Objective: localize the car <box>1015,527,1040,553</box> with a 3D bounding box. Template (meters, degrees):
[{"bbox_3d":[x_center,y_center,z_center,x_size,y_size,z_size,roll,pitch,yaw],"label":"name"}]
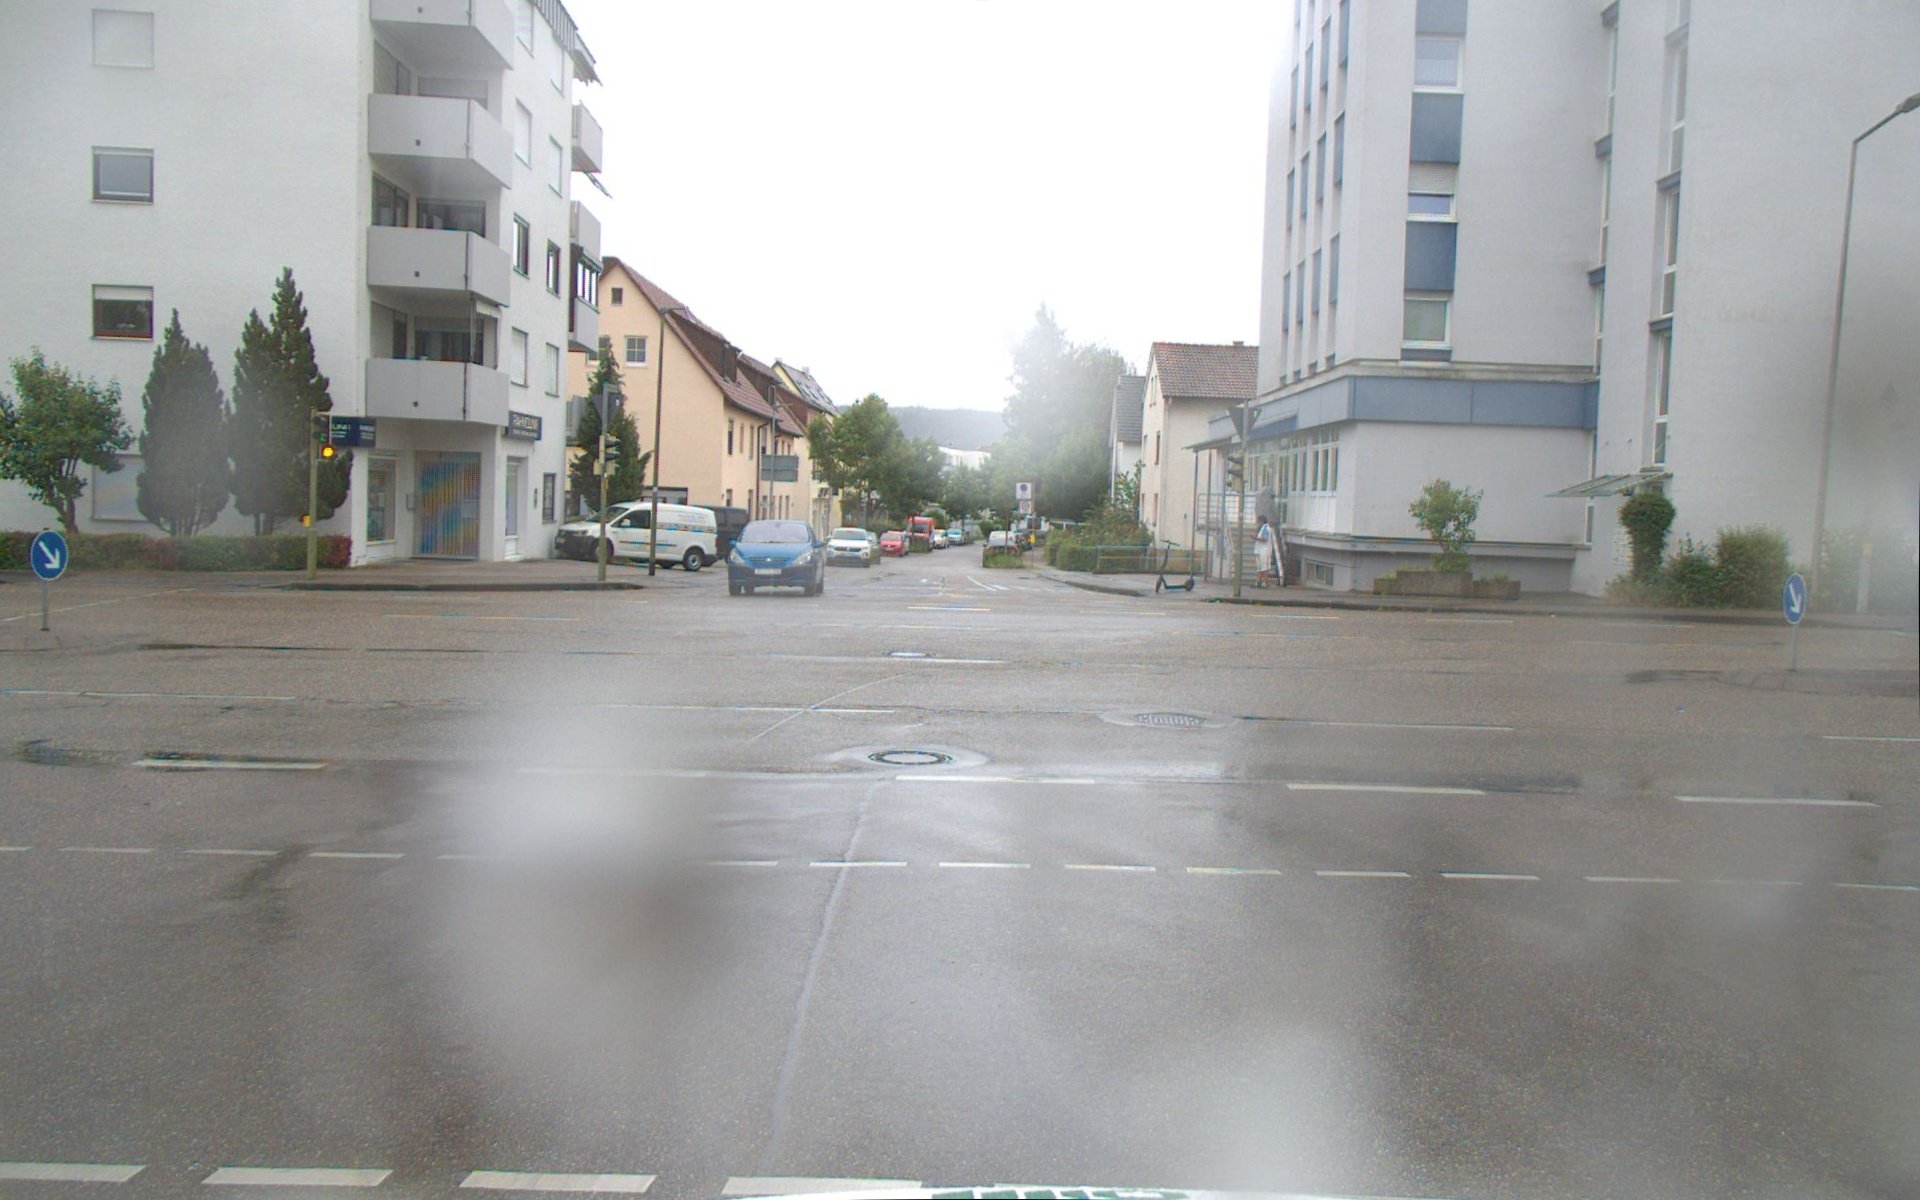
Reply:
[{"bbox_3d":[5.667,-4.998,138.083,1.951,2.048,4.003,1,2,4],"label":"car"}]

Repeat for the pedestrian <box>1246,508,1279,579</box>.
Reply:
[{"bbox_3d":[7.272,-1.344,39.746,0.641,1.680,0.646,1,-1,0],"label":"pedestrian"}]

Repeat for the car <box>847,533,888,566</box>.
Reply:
[{"bbox_3d":[-4.423,-2.431,79.395,1.731,1.545,4.195,1,2,0],"label":"car"}]

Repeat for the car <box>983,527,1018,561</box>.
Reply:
[{"bbox_3d":[2.536,-3.484,103.473,1.951,2.048,4.003,1,2,4],"label":"car"}]

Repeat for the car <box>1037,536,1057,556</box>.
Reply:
[{"bbox_3d":[8.995,-5.577,170.728,1.951,2.048,4.003,1,2,4],"label":"car"}]

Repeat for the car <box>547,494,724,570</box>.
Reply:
[{"bbox_3d":[-9.273,-1.921,47.458,4.684,1.809,1.748,3,-1,-40],"label":"car"}]

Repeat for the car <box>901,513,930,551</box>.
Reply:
[{"bbox_3d":[-3.370,-5.173,126.395,2.171,2.816,5.724,0,2,-1],"label":"car"}]

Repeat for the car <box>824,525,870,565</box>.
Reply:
[{"bbox_3d":[-4.607,-2.250,67.656,1.732,1.549,3.999,0,2,-2],"label":"car"}]

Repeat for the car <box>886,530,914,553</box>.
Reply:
[{"bbox_3d":[-4.091,-3.980,112.335,1.732,1.545,3.998,0,2,-4],"label":"car"}]

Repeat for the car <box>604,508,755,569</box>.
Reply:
[{"bbox_3d":[-9.223,-2.002,54.558,4.578,1.921,1.935,-1,2,-40],"label":"car"}]

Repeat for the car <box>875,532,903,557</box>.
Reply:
[{"bbox_3d":[-4.482,-3.498,104.158,1.732,1.545,3.998,0,2,-4],"label":"car"}]

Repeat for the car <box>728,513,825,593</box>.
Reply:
[{"bbox_3d":[-3.676,-0.899,33.596,1.732,1.471,3.997,1,0,-4],"label":"car"}]

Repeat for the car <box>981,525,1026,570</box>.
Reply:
[{"bbox_3d":[2.167,-2.551,81.253,1.951,2.049,4.002,1,0,4],"label":"car"}]

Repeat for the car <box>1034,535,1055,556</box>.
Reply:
[{"bbox_3d":[8.319,-5.320,162.109,1.951,2.048,4.003,1,2,4],"label":"car"}]

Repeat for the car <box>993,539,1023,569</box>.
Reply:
[{"bbox_3d":[3.467,-3.318,118.697,1.951,2.048,4.003,1,2,4],"label":"car"}]

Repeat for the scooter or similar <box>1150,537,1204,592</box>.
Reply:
[{"bbox_3d":[5.061,-0.829,38.634,1.039,1.249,0.800,1,-1,-10],"label":"scooter or similar"}]

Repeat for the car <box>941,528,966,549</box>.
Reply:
[{"bbox_3d":[-0.592,-5.734,154.569,1.951,1.736,4.003,1,0,6],"label":"car"}]

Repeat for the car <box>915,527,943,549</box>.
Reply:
[{"bbox_3d":[-2.551,-5.182,138.490,1.951,1.713,4.002,1,0,4],"label":"car"}]
